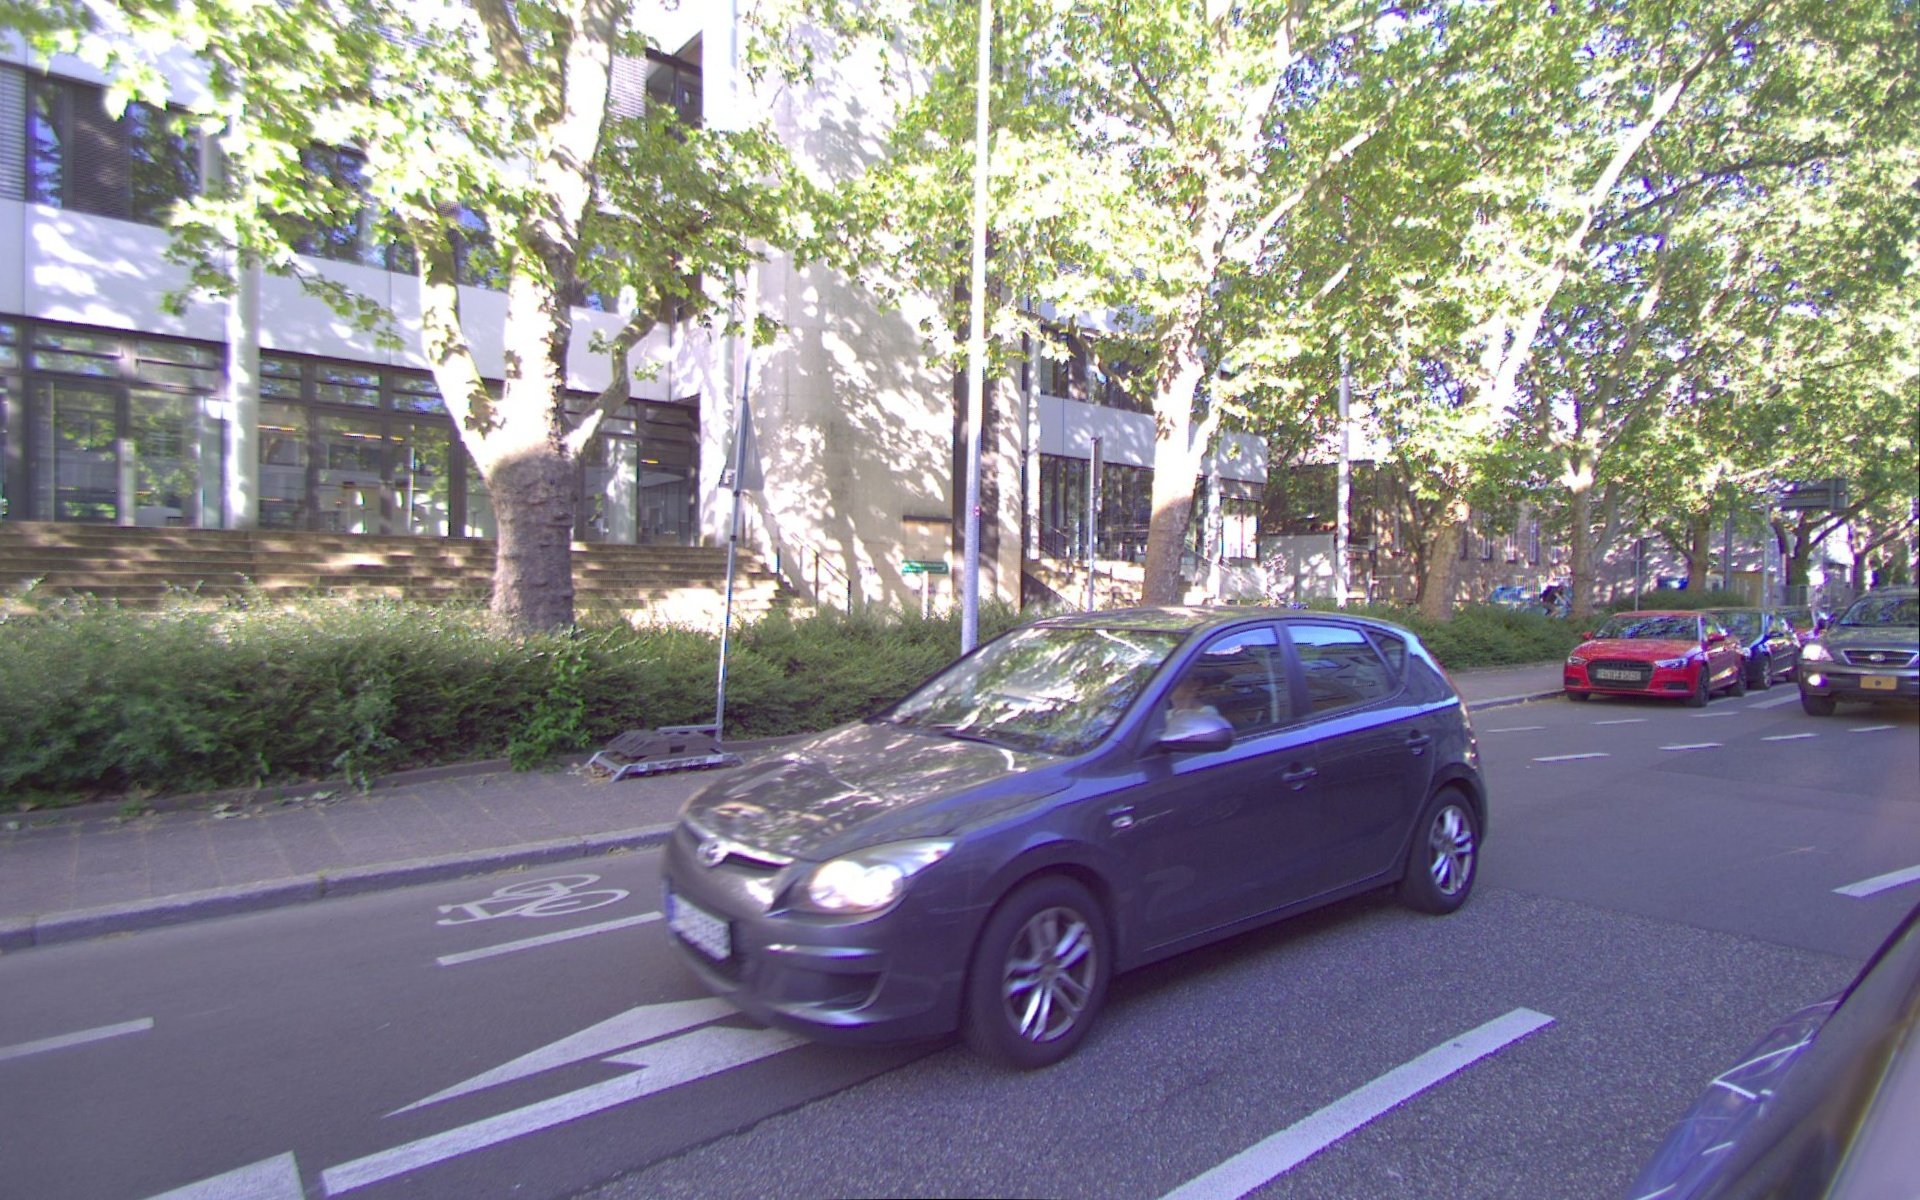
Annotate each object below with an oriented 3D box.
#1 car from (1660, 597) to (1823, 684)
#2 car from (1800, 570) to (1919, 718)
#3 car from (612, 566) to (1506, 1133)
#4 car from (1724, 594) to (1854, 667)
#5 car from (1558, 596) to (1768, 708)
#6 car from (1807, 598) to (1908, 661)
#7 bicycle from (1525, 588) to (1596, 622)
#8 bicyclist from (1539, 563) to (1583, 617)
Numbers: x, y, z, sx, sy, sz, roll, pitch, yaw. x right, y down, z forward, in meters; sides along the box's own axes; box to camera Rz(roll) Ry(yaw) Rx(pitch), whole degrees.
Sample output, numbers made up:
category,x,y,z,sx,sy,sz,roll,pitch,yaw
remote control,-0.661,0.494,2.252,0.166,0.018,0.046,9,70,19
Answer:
category,x,y,z,sx,sy,sz,roll,pitch,yaw
car,14.972,0.707,19.314,4.022,1.472,1.739,0,-1,-42
car,13.342,0.531,13.694,4.299,1.793,1.787,0,-1,-33
car,0.668,0.648,4.521,3.902,1.501,1.649,0,0,-37
car,18.712,0.634,22.790,3.851,1.511,1.679,0,-1,-42
car,11.259,0.733,16.105,4.071,1.548,1.827,0,-1,-42
car,25.811,0.779,29.070,4.022,1.653,1.739,0,1,-42
bicycle,18.702,0.146,31.552,0.721,1.027,1.797,0,0,-40
bicyclist,18.721,-0.304,31.536,0.686,1.640,1.036,0,0,-40
